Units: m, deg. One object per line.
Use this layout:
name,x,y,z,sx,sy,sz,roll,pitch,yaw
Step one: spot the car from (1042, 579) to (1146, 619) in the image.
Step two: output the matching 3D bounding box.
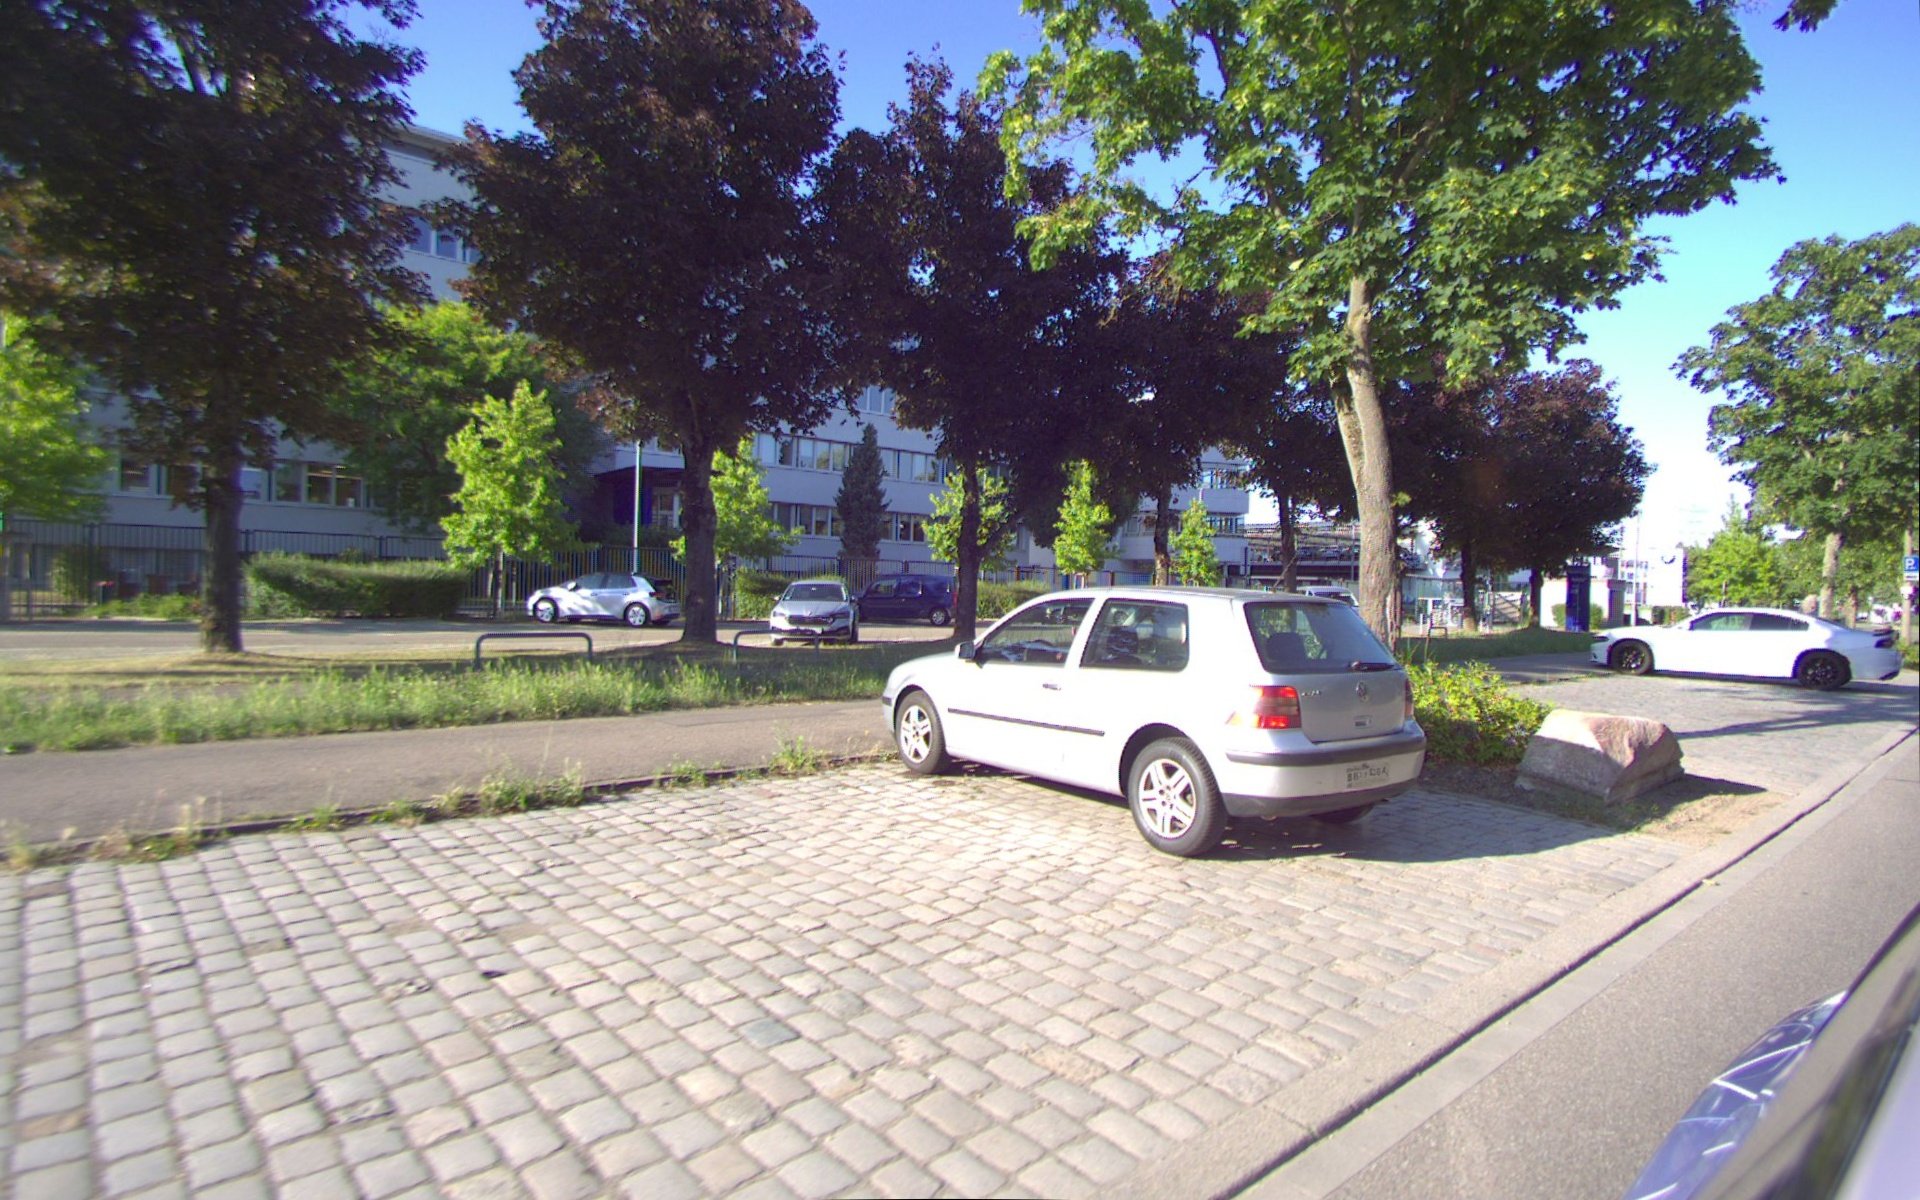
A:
car,5.679,-0.054,42.673,4.245,1.548,1.801,2,1,11

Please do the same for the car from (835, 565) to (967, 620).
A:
car,-2.068,-0.264,36.144,4.418,1.772,1.764,2,0,7

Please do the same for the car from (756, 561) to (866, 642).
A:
car,-3.232,-0.013,22.894,1.961,1.593,4.958,1,1,-3

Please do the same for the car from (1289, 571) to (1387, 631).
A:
car,13.645,0.039,36.823,1.964,1.958,4.948,2,0,4

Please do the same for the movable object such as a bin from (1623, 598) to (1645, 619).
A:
movable object such as a bin,50.697,0.660,76.116,1.210,1.502,1.021,2,1,44

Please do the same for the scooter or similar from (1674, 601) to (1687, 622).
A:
scooter or similar,43.524,0.687,61.127,0.519,1.288,1.182,2,1,41

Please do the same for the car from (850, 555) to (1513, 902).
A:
car,1.099,0.523,7.046,1.961,1.497,4.378,1,3,-32

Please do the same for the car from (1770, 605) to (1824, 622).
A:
car,96.639,1.545,116.944,4.575,1.604,1.976,4,2,34

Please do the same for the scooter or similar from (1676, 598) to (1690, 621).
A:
scooter or similar,42.769,0.568,59.882,0.519,1.288,1.366,2,1,41

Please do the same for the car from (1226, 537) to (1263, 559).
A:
car,31.151,-5.680,110.743,4.128,2.129,1.996,1,-2,-42

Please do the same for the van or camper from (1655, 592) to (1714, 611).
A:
van or camper,126.857,0.209,177.344,2.881,2.936,8.029,2,1,-22

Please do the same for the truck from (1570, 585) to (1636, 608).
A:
truck,114.806,-0.665,180.893,3.226,3.689,10.143,2,1,-18

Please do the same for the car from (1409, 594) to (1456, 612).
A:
car,43.196,0.277,92.563,4.476,1.450,2.037,1,1,-38

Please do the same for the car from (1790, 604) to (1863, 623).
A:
car,73.376,1.118,85.786,4.470,1.421,2.007,2,1,37

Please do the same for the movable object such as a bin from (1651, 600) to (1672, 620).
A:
movable object such as a bin,51.781,0.730,74.736,1.016,1.434,0.850,1,-1,-21

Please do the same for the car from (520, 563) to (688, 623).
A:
car,-10.168,-0.213,29.029,4.233,1.546,1.763,2,0,9

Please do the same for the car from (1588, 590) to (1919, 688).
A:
car,15.887,0.678,20.346,2.122,1.593,5.179,1,1,-44

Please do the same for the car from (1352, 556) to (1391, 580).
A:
car,40.508,-3.083,99.555,4.128,2.129,1.996,1,-2,-42

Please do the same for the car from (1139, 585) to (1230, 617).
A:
car,10.427,0.016,47.193,3.932,1.371,1.803,2,1,7
